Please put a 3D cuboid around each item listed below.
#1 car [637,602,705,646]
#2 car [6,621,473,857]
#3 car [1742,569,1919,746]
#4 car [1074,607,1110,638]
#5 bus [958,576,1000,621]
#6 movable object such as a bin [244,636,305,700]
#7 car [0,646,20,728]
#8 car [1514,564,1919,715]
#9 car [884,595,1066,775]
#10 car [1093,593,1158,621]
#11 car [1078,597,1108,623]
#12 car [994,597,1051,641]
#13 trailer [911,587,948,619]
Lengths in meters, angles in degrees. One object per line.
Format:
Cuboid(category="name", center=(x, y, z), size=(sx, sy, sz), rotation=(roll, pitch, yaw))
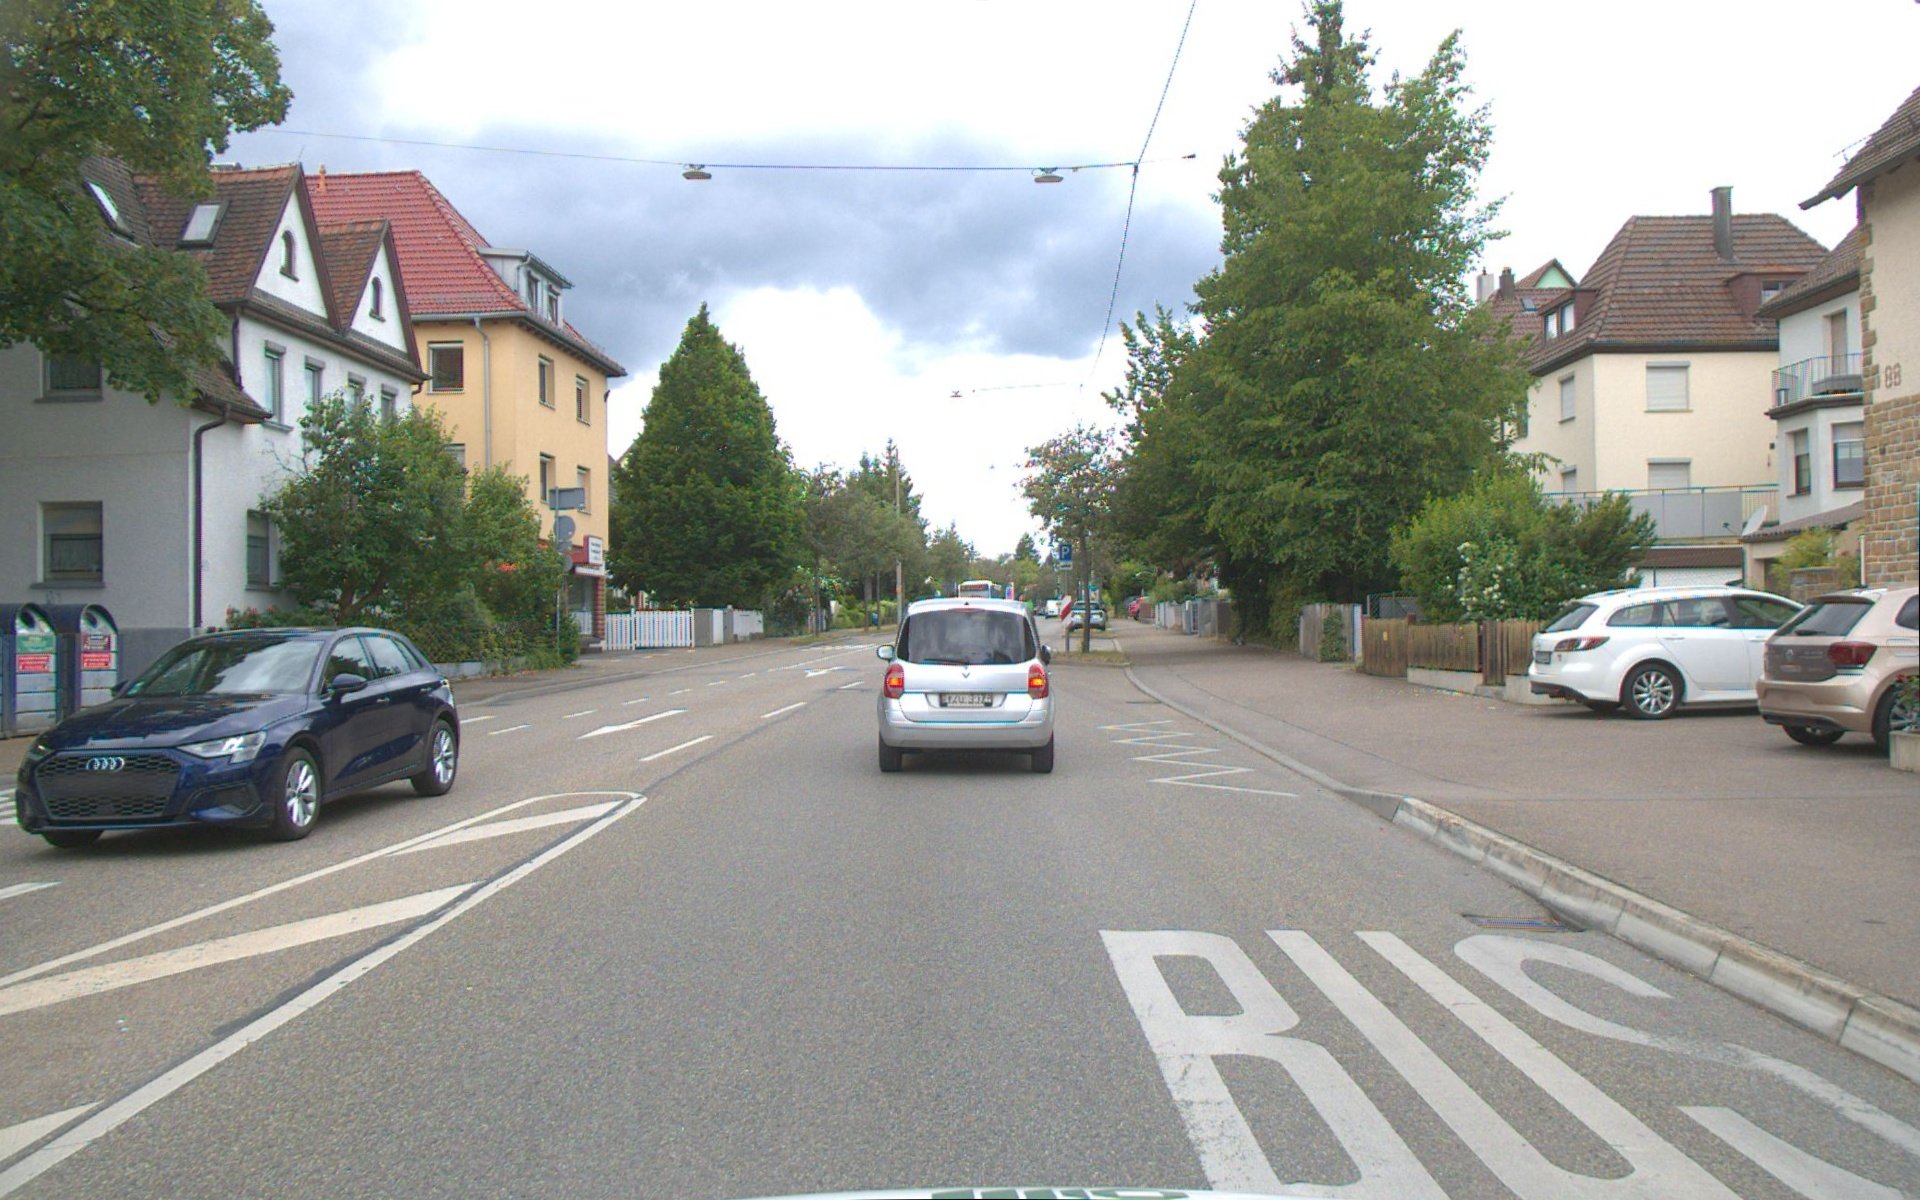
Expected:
Cuboid(category="car", center=(-11.484, 0.922, 65.946), size=(1.769, 1.591, 4.618), rotation=(-3, 0, 0))
Cuboid(category="car", center=(-5.142, 0.919, 12.457), size=(1.531, 1.445, 4.131), rotation=(-1, -1, 3))
Cuboid(category="car", center=(9.140, 0.413, 14.504), size=(3.726, 1.426, 1.640), rotation=(-3, -1, -2))
Cuboid(category="car", center=(6.160, 1.048, 76.916), size=(1.615, 1.407, 4.002), rotation=(-1, -1, 5))
Cuboid(category="bus", center=(1.519, -0.070, 125.148), size=(2.577, 3.140, 12.074), rotation=(-3, 0, 3))
Cuboid(category="movable object such as a bin", center=(-11.862, 1.165, 28.627), size=(0.706, 1.037, 0.720), rotation=(2, 2, 36))
Cuboid(category="car", center=(-17.885, 1.553, 27.126), size=(3.905, 1.355, 1.722), rotation=(-3, -2, 2))
Cuboid(category="car", center=(9.128, 0.463, 19.786), size=(4.328, 1.514, 1.865), rotation=(-3, -1, 3))
Cuboid(category="car", center=(0.136, 0.789, 16.606), size=(1.596, 1.584, 3.999), rotation=(0, -1, 0))
Cuboid(category="car", center=(10.901, 0.441, 109.221), size=(3.909, 1.522, 1.808), rotation=(-4, 0, -4))
Cuboid(category="car", center=(7.729, 0.572, 95.823), size=(1.627, 1.417, 3.670), rotation=(-1, 0, 6))
Cuboid(category="car", center=(2.599, 0.775, 68.103), size=(1.790, 1.705, 3.577), rotation=(-2, -1, 11))
Cuboid(category="trailer", center=(-2.133, 0.222, 116.908), size=(2.264, 2.123, 5.874), rotation=(0, -1, 3))
